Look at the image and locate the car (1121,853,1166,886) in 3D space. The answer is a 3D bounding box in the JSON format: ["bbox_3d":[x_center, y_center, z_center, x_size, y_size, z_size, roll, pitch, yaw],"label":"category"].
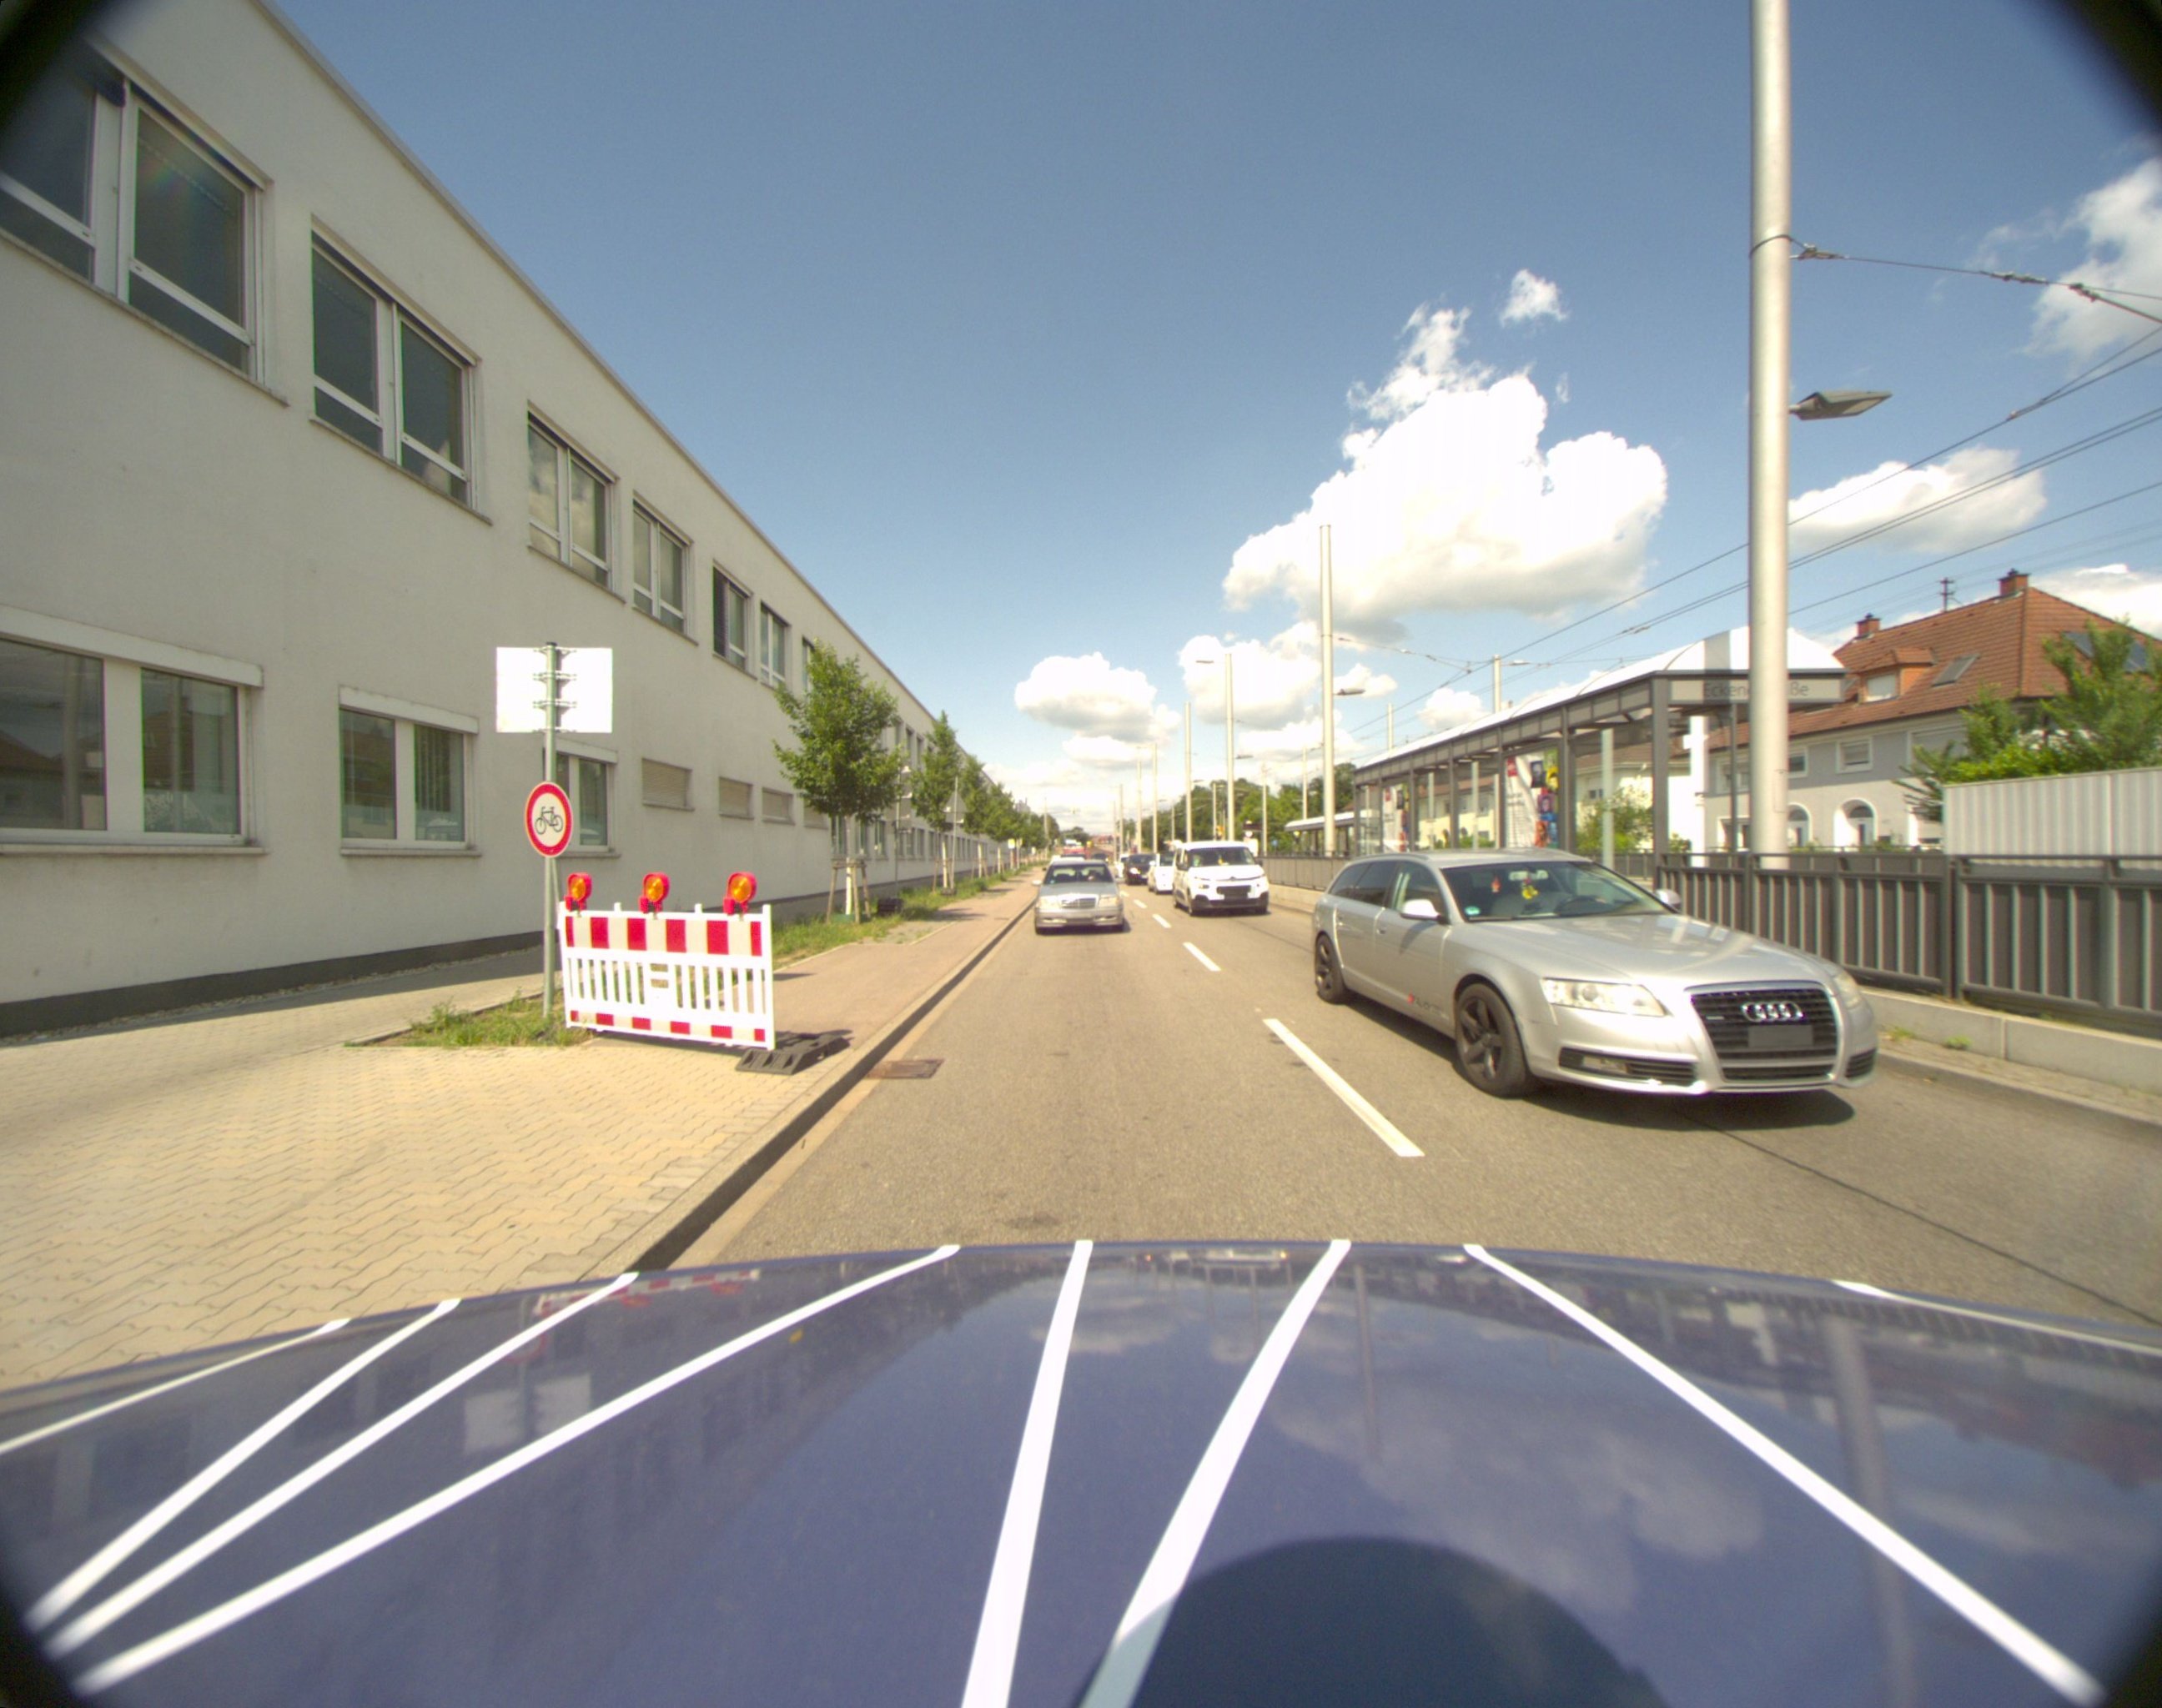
[{"bbox_3d":[2.939,0.690,36.467,1.680,1.414,3.557,-2,1,-2],"label":"car"}]

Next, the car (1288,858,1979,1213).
[{"bbox_3d":[3.181,0.843,5.832,1.799,1.463,4.721,-2,1,-1],"label":"car"}]

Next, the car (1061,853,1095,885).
[{"bbox_3d":[-0.191,0.748,40.386,1.664,1.529,3.999,-2,1,-1],"label":"car"}]

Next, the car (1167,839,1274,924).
[{"bbox_3d":[3.347,0.580,19.004,1.799,1.805,4.328,-2,1,0],"label":"car"}]

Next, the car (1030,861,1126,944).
[{"bbox_3d":[-0.076,0.920,16.312,1.725,1.389,4.462,-2,1,-1],"label":"car"}]

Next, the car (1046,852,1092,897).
[{"bbox_3d":[-0.471,0.757,30.347,1.664,1.564,3.999,-2,1,-1],"label":"car"}]

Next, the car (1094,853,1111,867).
[{"bbox_3d":[2.412,0.673,85.384,1.698,1.350,4.498,-2,1,-1],"label":"car"}]

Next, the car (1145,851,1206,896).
[{"bbox_3d":[3.455,0.671,28.374,1.680,1.495,3.392,-2,0,-2],"label":"car"}]

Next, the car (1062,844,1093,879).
[{"bbox_3d":[-0.241,0.431,49.689,1.787,2.135,5.168,-2,1,-1],"label":"car"}]

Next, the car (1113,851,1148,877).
[{"bbox_3d":[2.896,0.578,45.601,1.698,1.350,4.498,-2,1,-1],"label":"car"}]
